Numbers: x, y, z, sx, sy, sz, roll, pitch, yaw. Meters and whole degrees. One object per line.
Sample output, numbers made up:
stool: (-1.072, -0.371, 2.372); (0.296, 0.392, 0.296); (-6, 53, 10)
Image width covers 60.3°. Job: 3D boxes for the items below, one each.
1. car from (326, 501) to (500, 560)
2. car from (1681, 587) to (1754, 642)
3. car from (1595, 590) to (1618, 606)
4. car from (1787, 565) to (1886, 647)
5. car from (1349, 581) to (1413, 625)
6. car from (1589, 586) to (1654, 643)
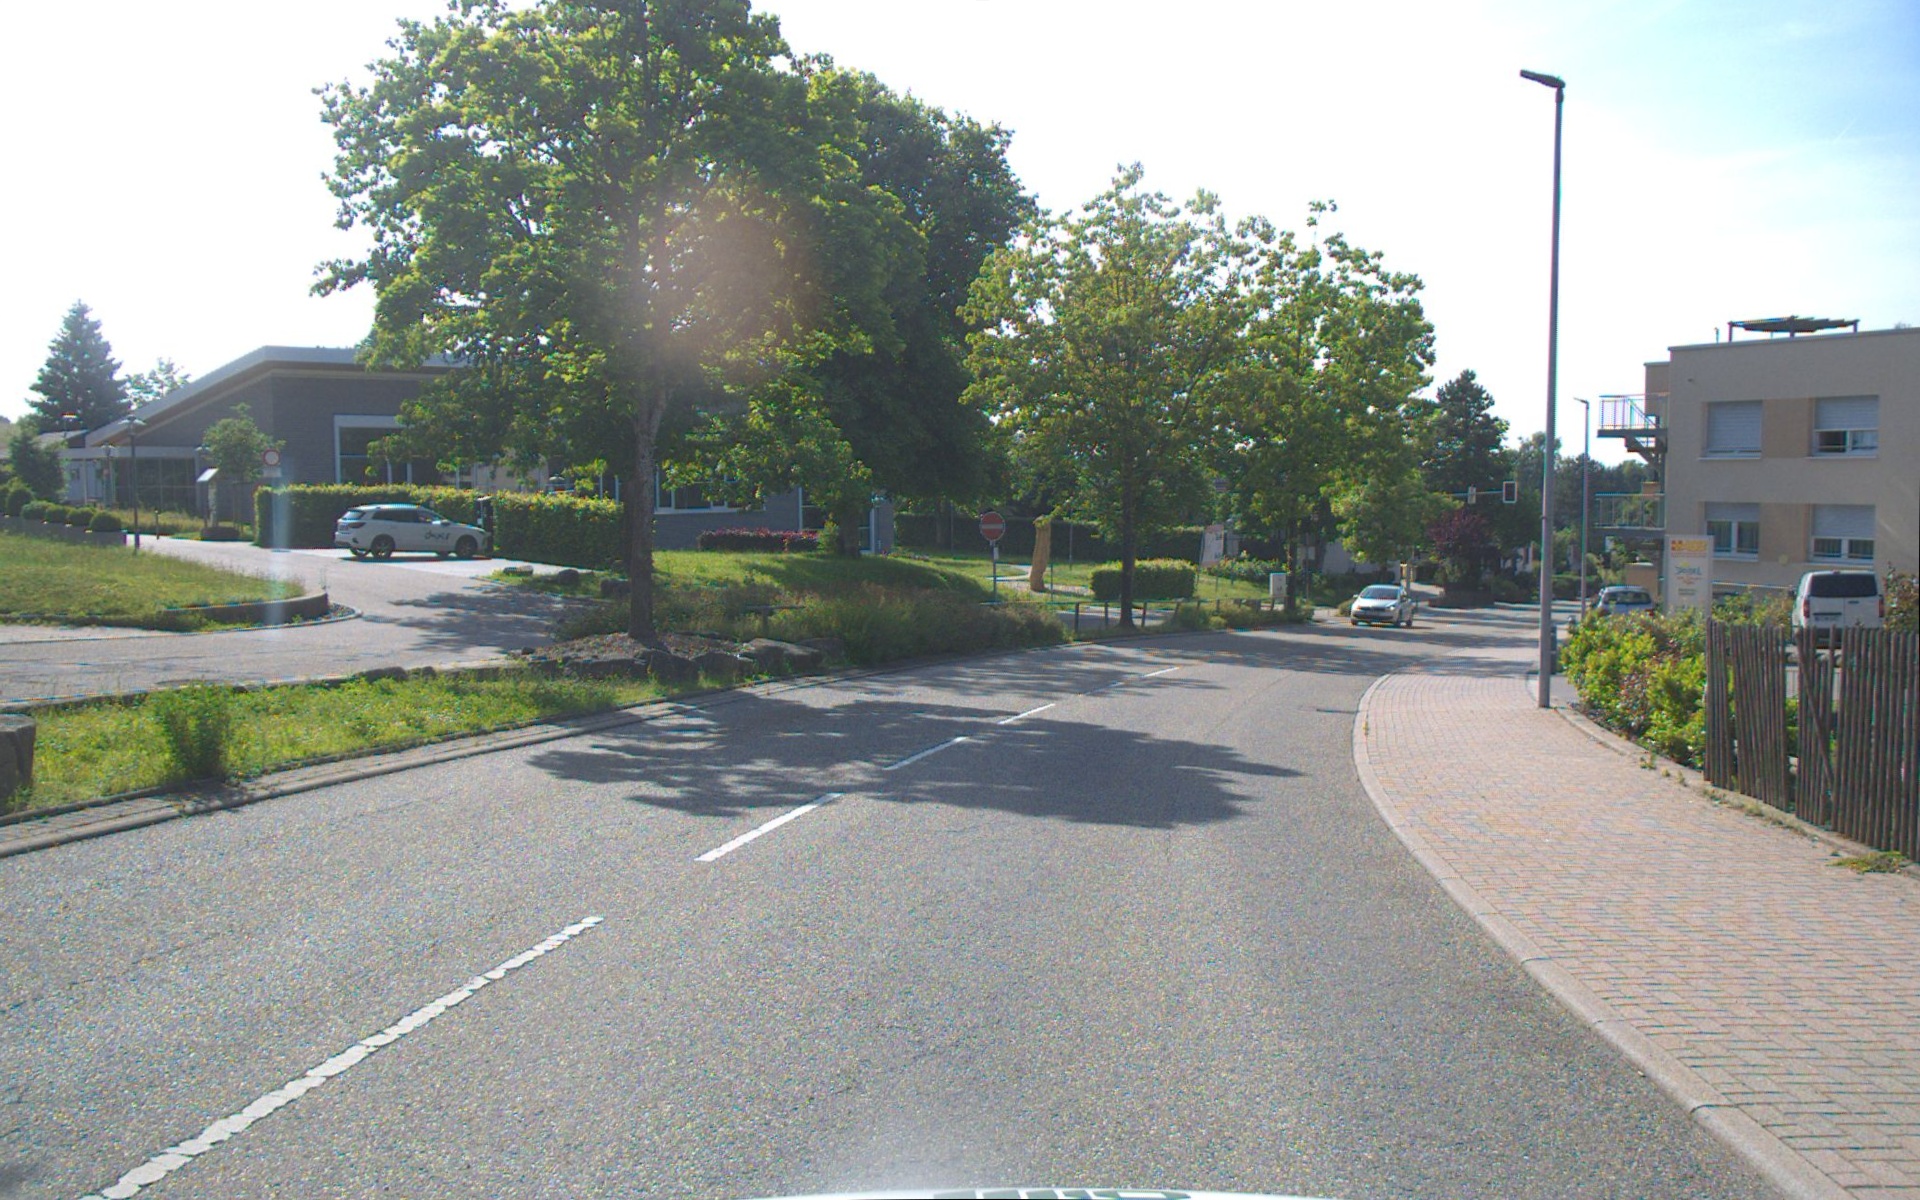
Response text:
car: (-16.658, -2.153, 50.518); (4.691, 1.559, 1.971); (-3, 8, -42)
car: (21.283, 0.368, 46.587); (1.673, 1.452, 4.007); (1, 1, 22)
car: (60.851, -0.217, 155.683); (1.675, 1.452, 4.004); (1, 1, 26)
car: (22.495, 0.118, 42.599); (1.767, 1.968, 4.734); (1, 1, 22)
car: (15.533, 0.074, 60.884); (1.694, 1.468, 4.064); (3, 2, 22)
car: (19.447, 0.383, 48.605); (1.673, 1.562, 4.007); (1, 1, 22)
